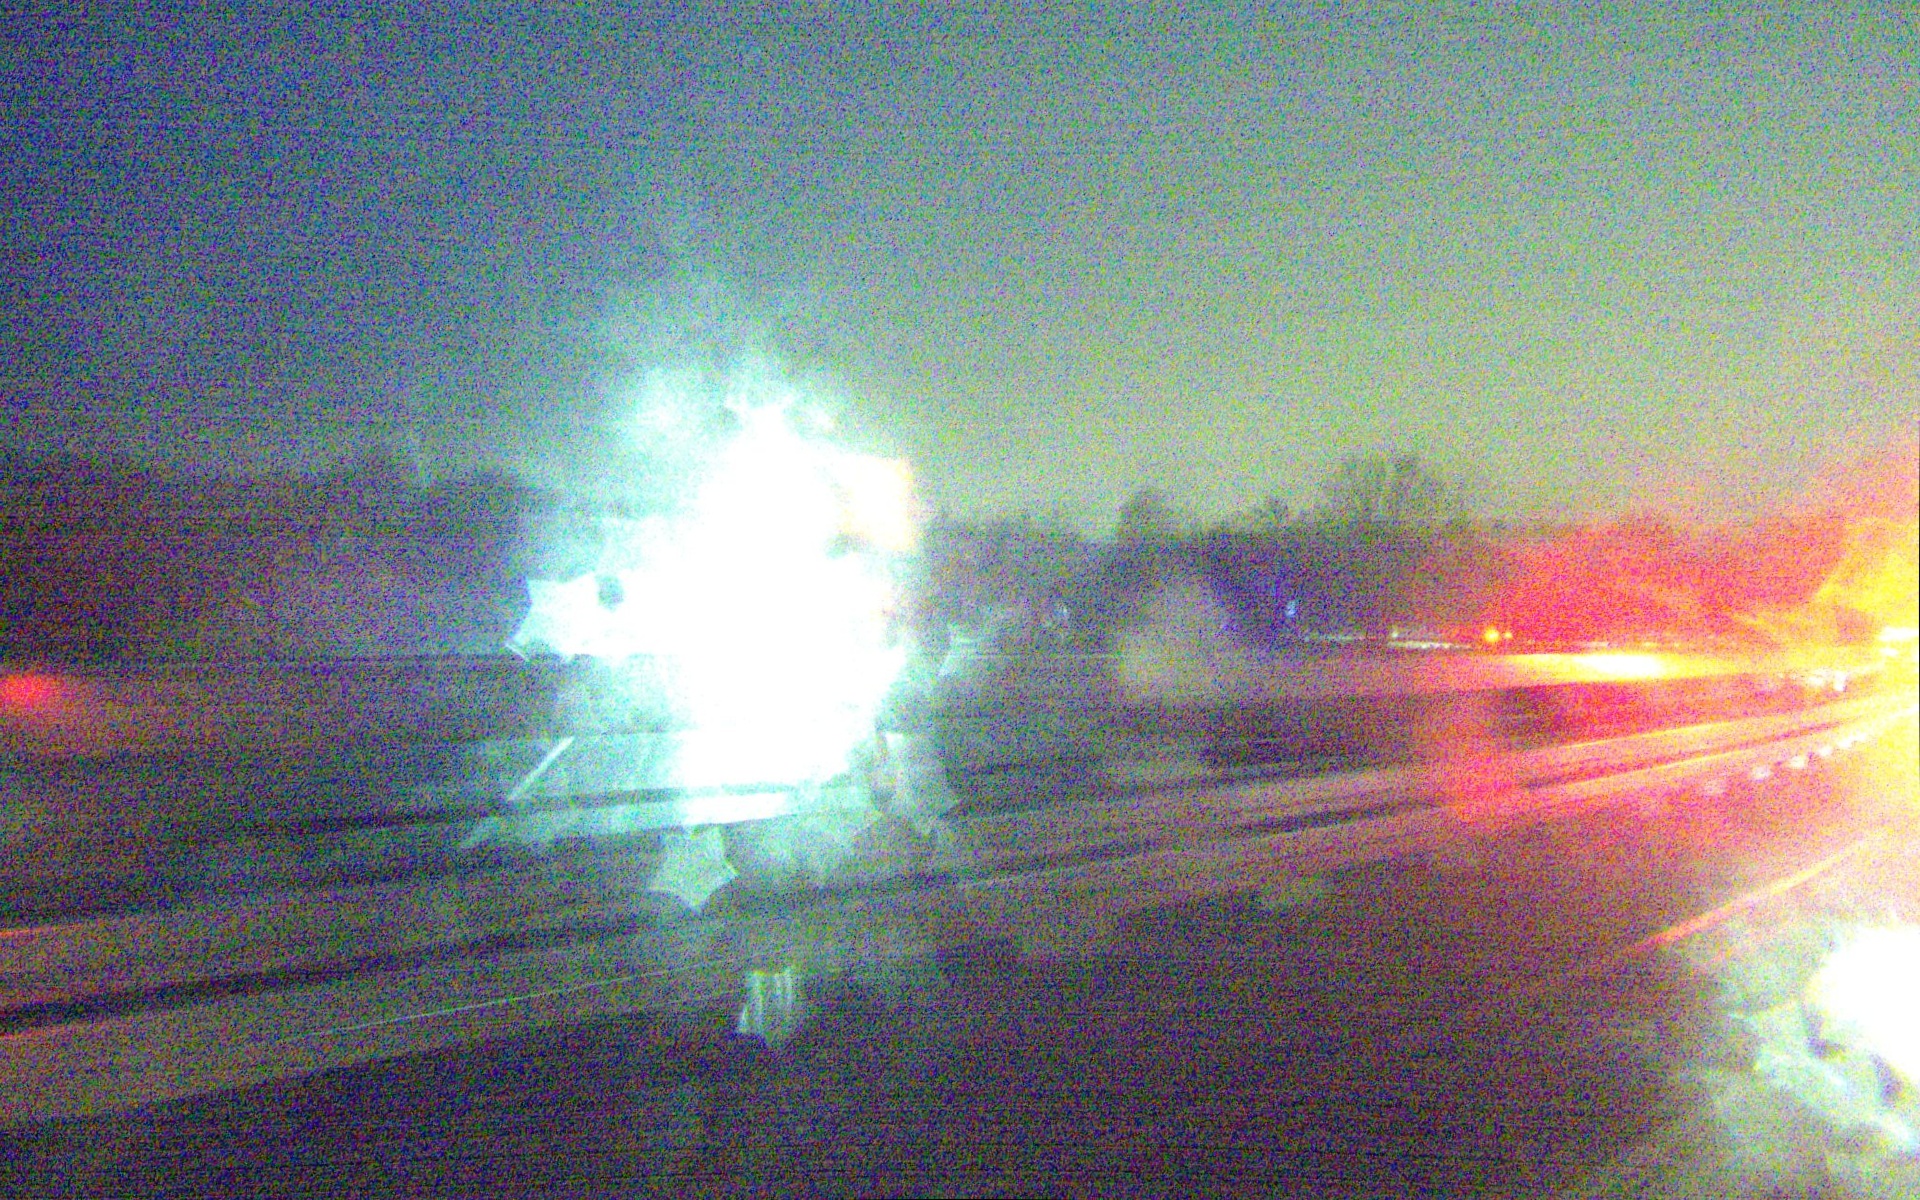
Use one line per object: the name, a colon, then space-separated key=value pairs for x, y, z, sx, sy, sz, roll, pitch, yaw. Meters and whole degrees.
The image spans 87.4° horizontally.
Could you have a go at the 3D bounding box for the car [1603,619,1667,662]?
car: x=35.425 y=2.092 z=52.841 sx=1.864 sy=2.024 sz=4.045 roll=2 pitch=1 yaw=21

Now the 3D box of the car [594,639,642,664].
car: x=-25.848 y=3.915 z=76.041 sx=1.689 sy=1.786 sz=3.832 roll=0 pitch=-4 yaw=11

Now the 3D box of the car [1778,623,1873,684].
car: x=32.369 y=1.950 z=37.686 sx=1.867 sy=2.067 sz=4.039 roll=1 pitch=0 yaw=29

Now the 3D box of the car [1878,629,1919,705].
car: x=24.882 y=1.685 z=25.421 sx=1.870 sy=1.743 sz=4.032 roll=2 pitch=1 yaw=35
